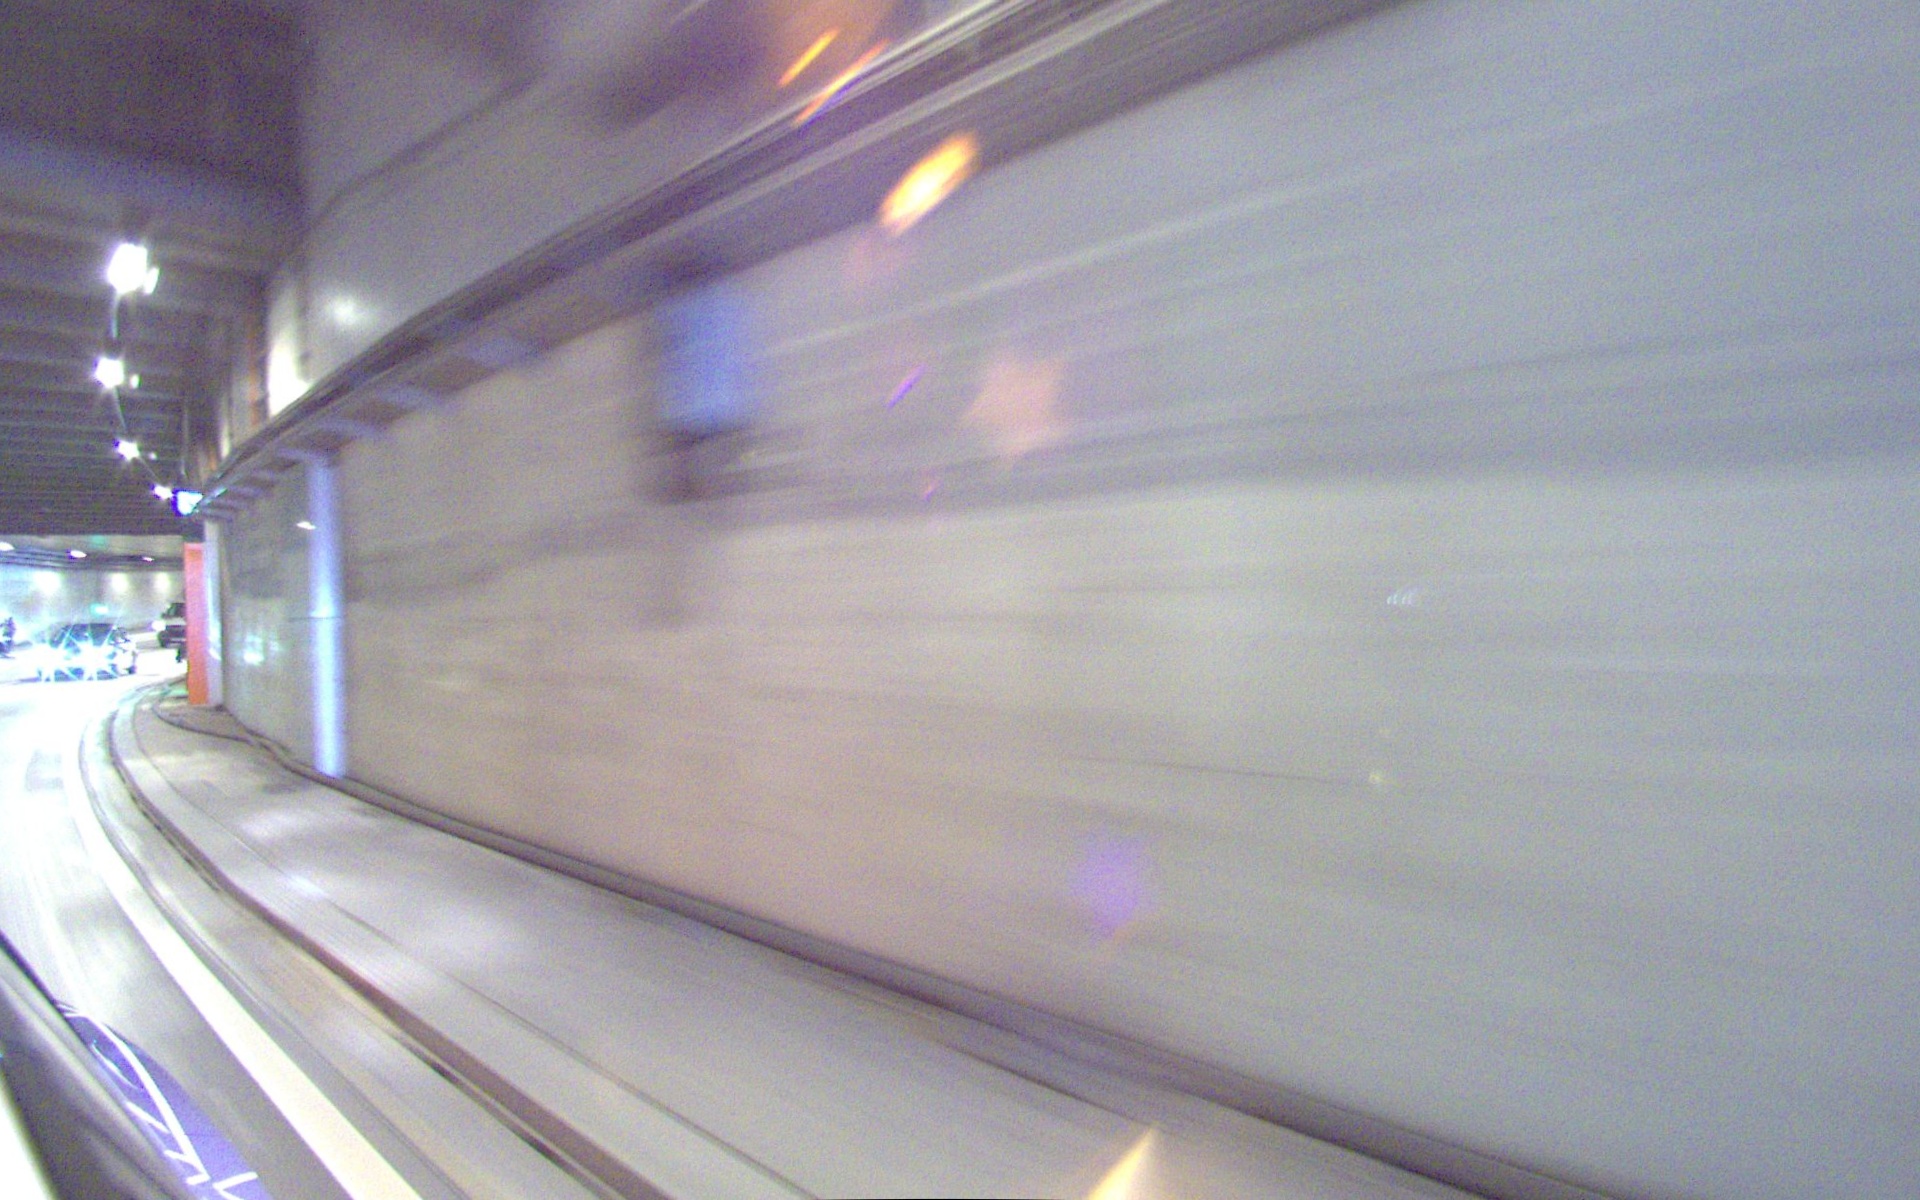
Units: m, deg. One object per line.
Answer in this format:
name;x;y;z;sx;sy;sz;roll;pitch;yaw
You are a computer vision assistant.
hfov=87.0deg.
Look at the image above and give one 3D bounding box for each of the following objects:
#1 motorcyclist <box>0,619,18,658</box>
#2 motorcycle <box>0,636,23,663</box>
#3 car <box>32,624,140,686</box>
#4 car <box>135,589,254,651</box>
motorcyclist;-38.215;1.532;40.285;0.734;1.502;0.790;-3;1;-19
motorcycle;-38.202;1.990;40.309;0.541;0.983;1.841;-3;2;-19
car;-24.018;1.453;27.949;1.694;1.475;4.011;-1;0;-33
car;-37.802;0.945;50.281;2.517;2.789;7.374;-1;0;-19
